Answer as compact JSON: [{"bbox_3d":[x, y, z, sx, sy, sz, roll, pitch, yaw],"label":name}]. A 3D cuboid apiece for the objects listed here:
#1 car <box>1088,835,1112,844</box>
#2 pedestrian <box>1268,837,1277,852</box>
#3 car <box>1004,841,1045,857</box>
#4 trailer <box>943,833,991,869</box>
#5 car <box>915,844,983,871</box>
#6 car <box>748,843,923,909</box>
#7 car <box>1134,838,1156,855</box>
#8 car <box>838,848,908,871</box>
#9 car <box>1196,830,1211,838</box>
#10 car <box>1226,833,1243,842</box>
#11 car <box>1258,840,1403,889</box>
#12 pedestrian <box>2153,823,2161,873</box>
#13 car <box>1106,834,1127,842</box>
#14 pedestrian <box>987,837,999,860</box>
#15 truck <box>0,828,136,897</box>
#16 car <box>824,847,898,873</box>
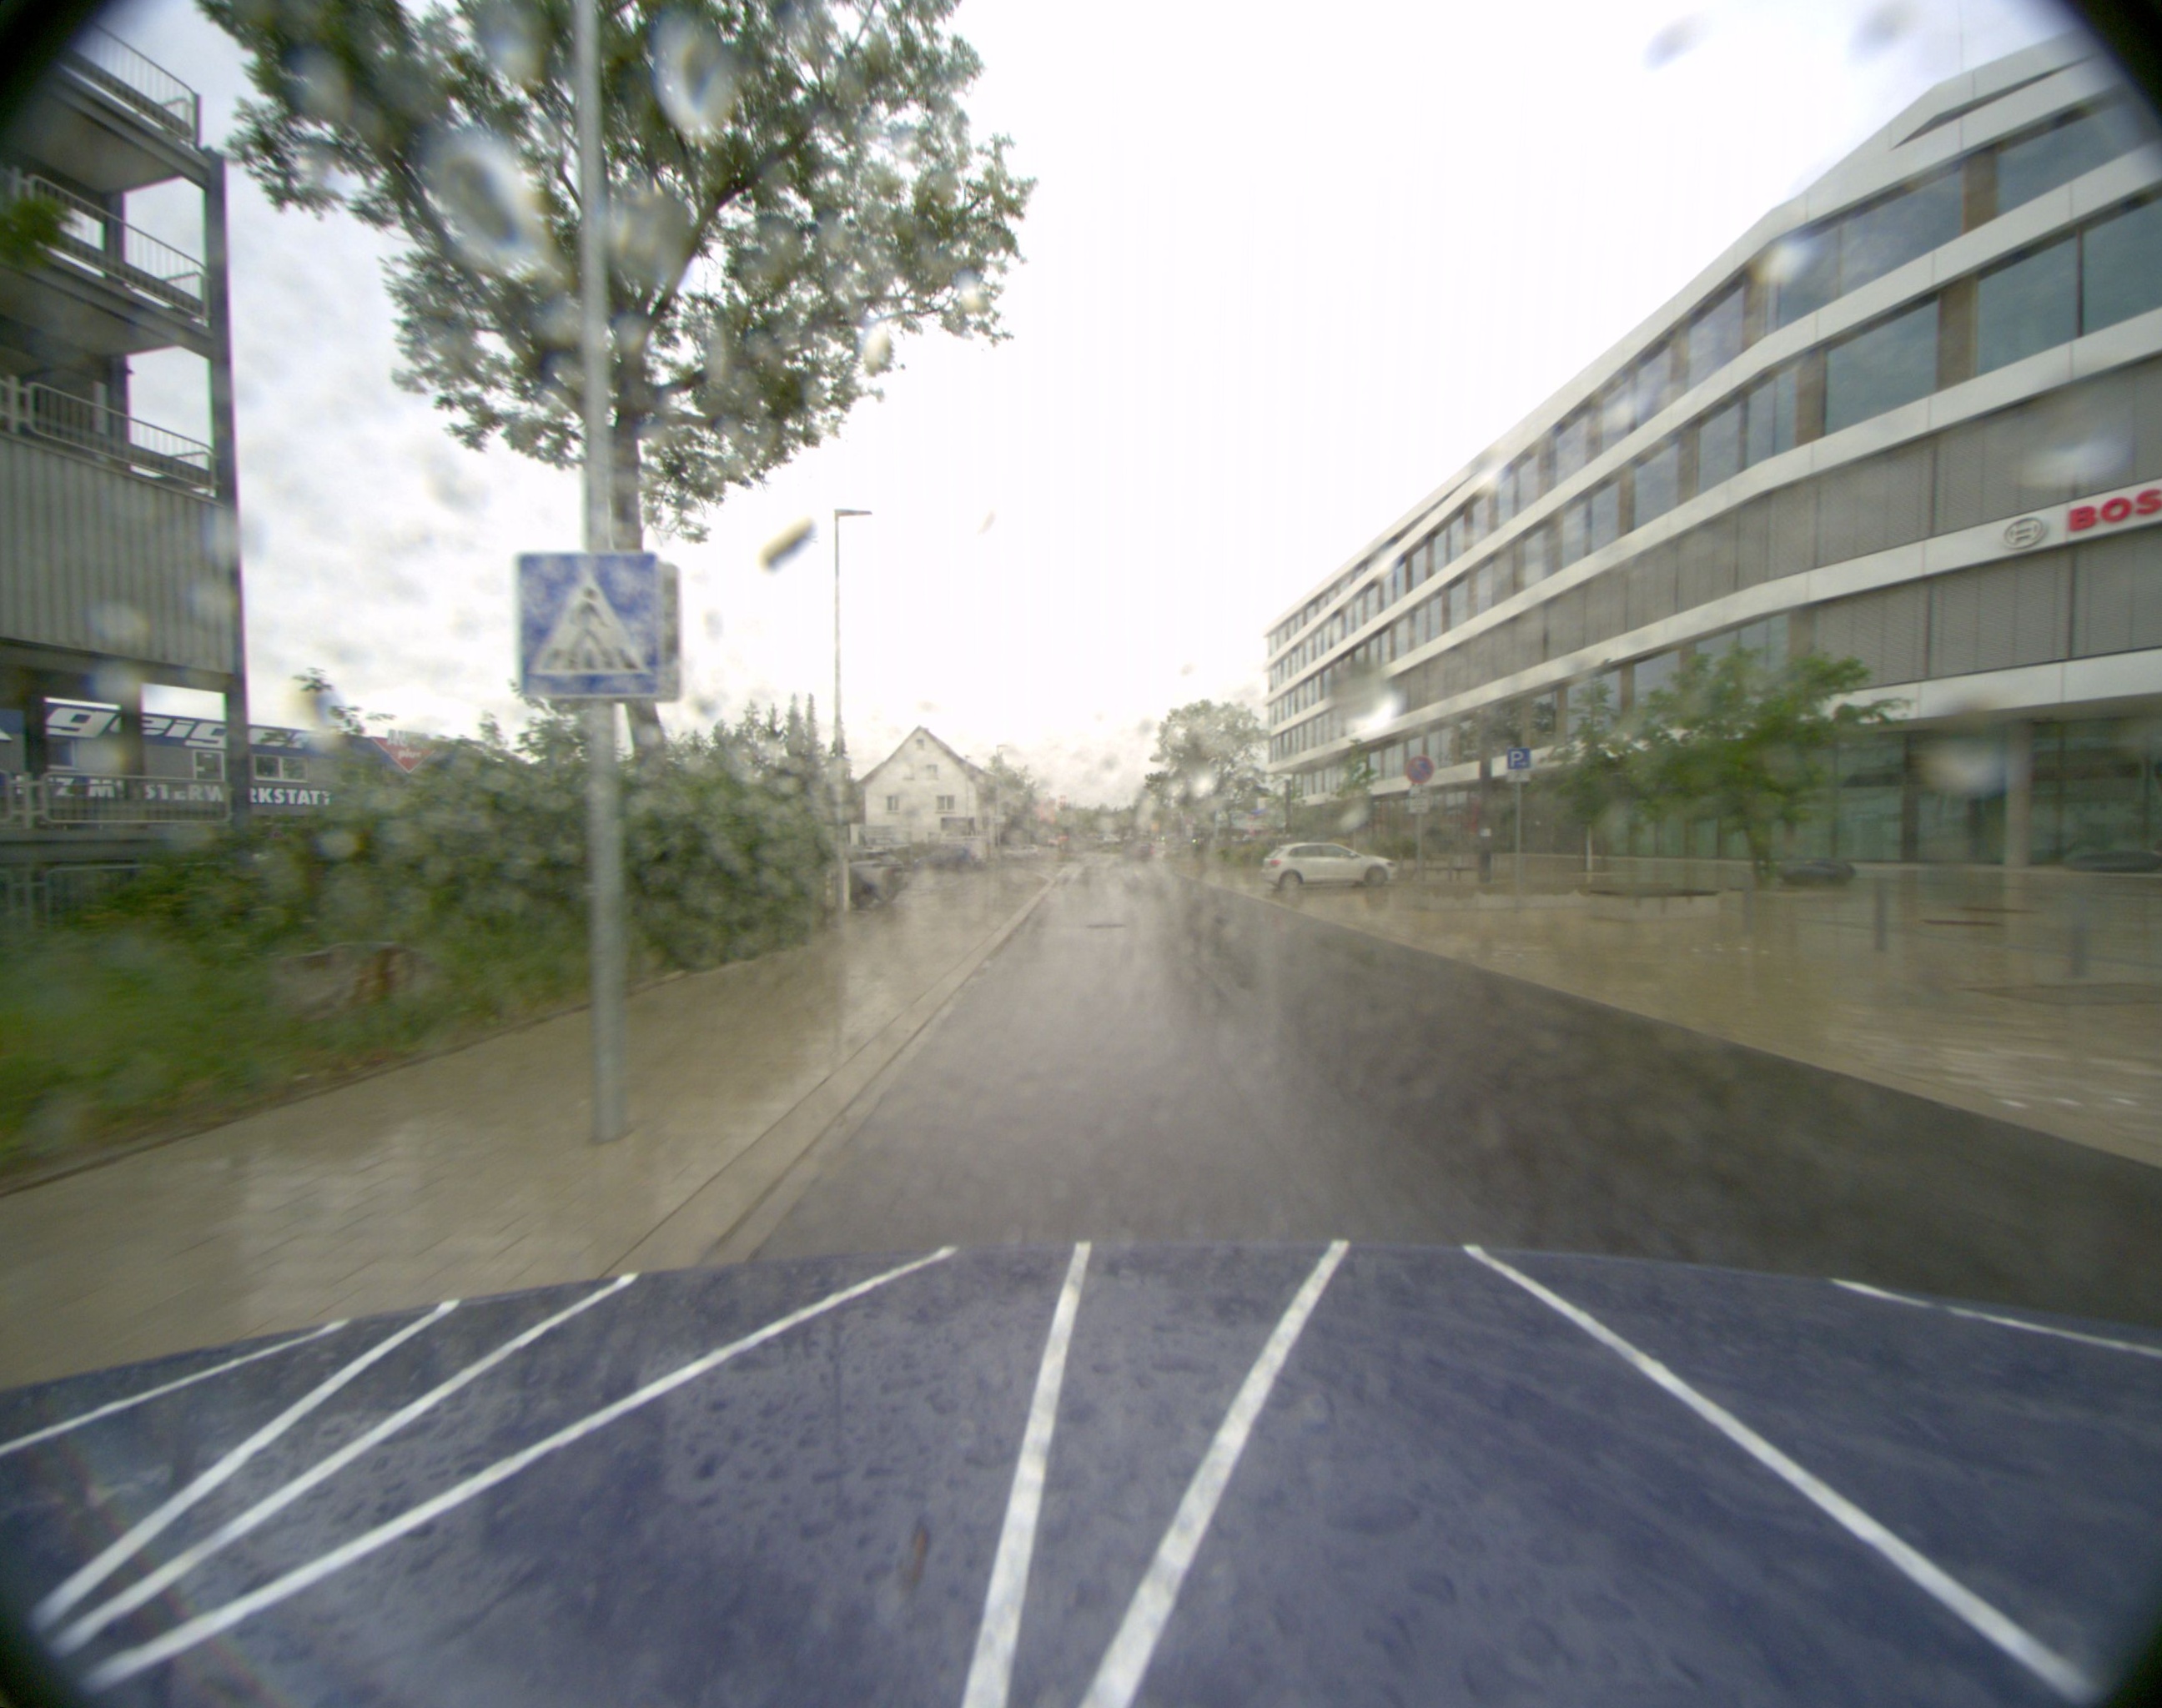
[{"bbox_3d":[3.747,-2.799,150.064,4.095,1.696,2.003,-1,1,28],"label":"car"},{"bbox_3d":[21.887,-1.073,86.968,0.726,1.694,0.956,-4,3,4],"label":"pedestrian"},{"bbox_3d":[-6.125,-0.548,81.717,4.144,1.571,1.997,1,1,-13],"label":"car"},{"bbox_3d":[-7.119,-0.191,47.561,2.708,2.159,1.548,-1,1,3],"label":"trailer"},{"bbox_3d":[-7.776,0.201,45.128,3.735,1.520,1.649,0,2,1],"label":"car"},{"bbox_3d":[-6.821,0.566,21.294,4.214,1.640,2.001,1,2,10],"label":"car"},{"bbox_3d":[6.926,-0.822,82.865,2.008,1.807,4.978,-1,1,1],"label":"car"},{"bbox_3d":[-12.480,0.327,45.712,3.736,1.308,1.692,-1,1,-3],"label":"car"},{"bbox_3d":[25.262,-4.162,156.782,1.916,1.521,4.006,-2,1,27],"label":"car"},{"bbox_3d":[26.369,-2.871,130.539,1.883,1.288,4.006,-3,1,25],"label":"car"},{"bbox_3d":[7.711,0.310,23.776,3.937,1.415,1.898,-1,1,1],"label":"car"},{"bbox_3d":[29.506,-0.168,20.179,0.899,1.307,1.059,-6,3,-26],"label":"pedestrian"},{"bbox_3d":[7.427,-3.375,159.467,3.990,1.434,2.003,-1,1,25],"label":"car"},{"bbox_3d":[-7.562,-0.479,65.340,0.861,2.002,1.194,1,2,-1],"label":"pedestrian"},{"bbox_3d":[-37.862,0.356,26.707,1.997,2.257,5.308,-4,3,11],"label":"truck"},{"bbox_3d":[-12.505,0.328,43.328,3.736,1.441,1.730,-1,1,-3],"label":"car"}]
